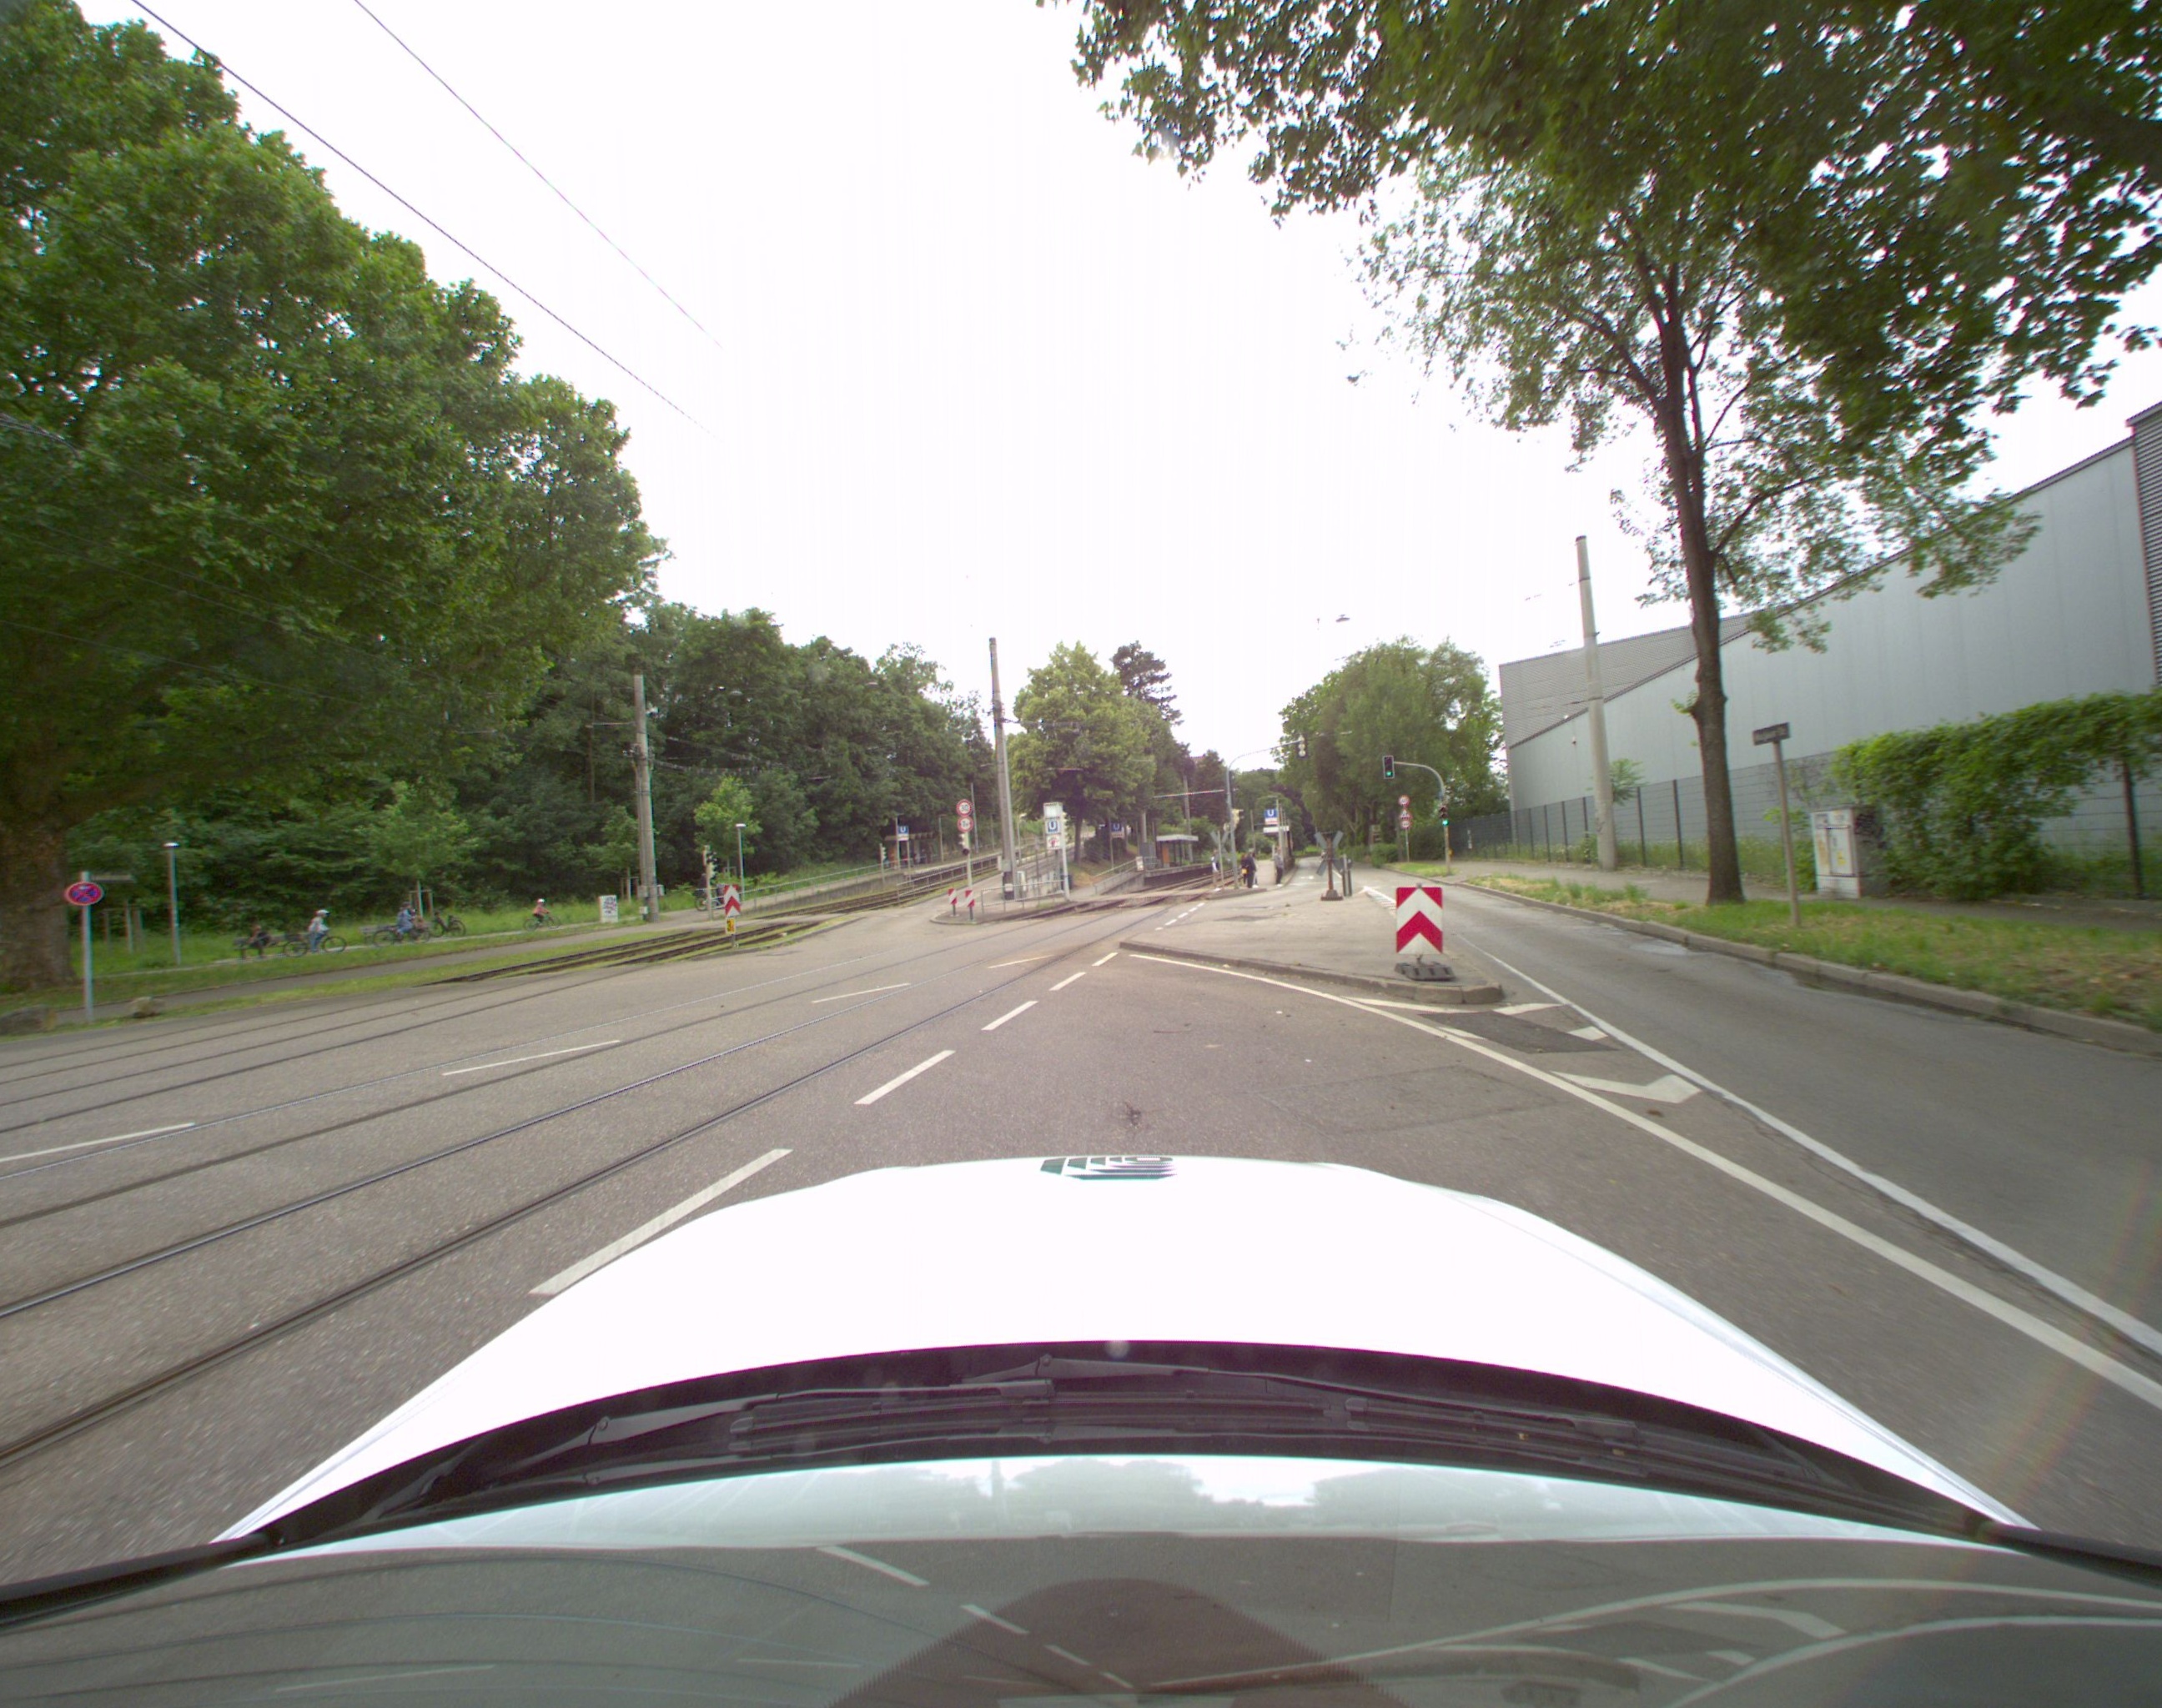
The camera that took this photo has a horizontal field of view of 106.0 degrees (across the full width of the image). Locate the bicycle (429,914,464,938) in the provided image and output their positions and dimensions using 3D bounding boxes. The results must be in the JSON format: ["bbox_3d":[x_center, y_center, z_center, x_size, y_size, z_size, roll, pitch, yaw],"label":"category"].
[{"bbox_3d":[-25.892,2.924,33.228,1.724,0.885,0.626,-2,-1,34],"label":"bicycle"}]

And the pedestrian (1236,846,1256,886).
[{"bbox_3d":[6.908,0.497,34.033,0.729,1.665,0.685,-2,-1,16],"label":"pedestrian"}]

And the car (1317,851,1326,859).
[{"bbox_3d":[50.344,0.147,170.590,1.731,1.599,4.016,-1,0,15],"label":"car"}]

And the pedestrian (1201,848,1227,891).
[{"bbox_3d":[5.682,0.662,34.808,0.807,1.821,0.664,-1,-1,-28],"label":"pedestrian"}]

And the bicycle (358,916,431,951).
[{"bbox_3d":[-25.206,2.911,29.930,0.469,1.041,1.957,0,3,40],"label":"bicycle"}]

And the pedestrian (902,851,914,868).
[{"bbox_3d":[-14.594,0.452,68.733,0.767,1.326,0.789,-1,2,7],"label":"pedestrian"}]

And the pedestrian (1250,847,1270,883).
[{"bbox_3d":[8.507,0.509,38.751,0.673,1.665,0.742,-2,-1,31],"label":"pedestrian"}]

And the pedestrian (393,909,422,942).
[{"bbox_3d":[-26.209,2.768,31.681,0.572,1.235,0.677,-2,-1,28],"label":"pedestrian"}]

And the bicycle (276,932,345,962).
[{"bbox_3d":[-26.417,3.180,27.945,0.449,0.738,1.663,0,3,41],"label":"bicycle"}]

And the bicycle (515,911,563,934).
[{"bbox_3d":[-22.502,2.840,33.844,1.564,0.738,0.450,-5,5,-31],"label":"bicycle"}]

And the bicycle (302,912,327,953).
[{"bbox_3d":[-26.367,2.680,28.001,0.449,1.329,0.519,0,3,41],"label":"bicycle"}]

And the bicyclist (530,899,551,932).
[{"bbox_3d":[-22.465,2.553,33.856,0.583,1.301,0.450,-5,4,-30],"label":"bicyclist"}]

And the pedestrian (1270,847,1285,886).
[{"bbox_3d":[9.057,0.564,37.471,0.545,1.758,0.741,-2,-1,19],"label":"pedestrian"}]

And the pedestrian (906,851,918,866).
[{"bbox_3d":[-14.511,0.377,69.759,0.767,1.326,0.788,-1,-1,7],"label":"pedestrian"}]

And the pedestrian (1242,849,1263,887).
[{"bbox_3d":[7.653,0.634,36.396,0.673,1.665,0.742,-2,-1,30],"label":"pedestrian"}]

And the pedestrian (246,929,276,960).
[{"bbox_3d":[-28.434,3.138,28.239,0.525,0.989,0.624,-2,-1,30],"label":"pedestrian"}]

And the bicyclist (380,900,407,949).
[{"bbox_3d":[-25.237,2.579,29.900,0.469,1.674,0.627,0,2,41],"label":"bicyclist"}]

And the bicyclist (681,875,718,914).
[{"bbox_3d":[-18.351,1.935,39.193,0.726,1.711,1.301,0,4,35],"label":"bicyclist"}]

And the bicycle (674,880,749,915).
[{"bbox_3d":[-17.988,2.102,39.722,0.726,1.289,3.369,0,4,35],"label":"bicycle"}]
